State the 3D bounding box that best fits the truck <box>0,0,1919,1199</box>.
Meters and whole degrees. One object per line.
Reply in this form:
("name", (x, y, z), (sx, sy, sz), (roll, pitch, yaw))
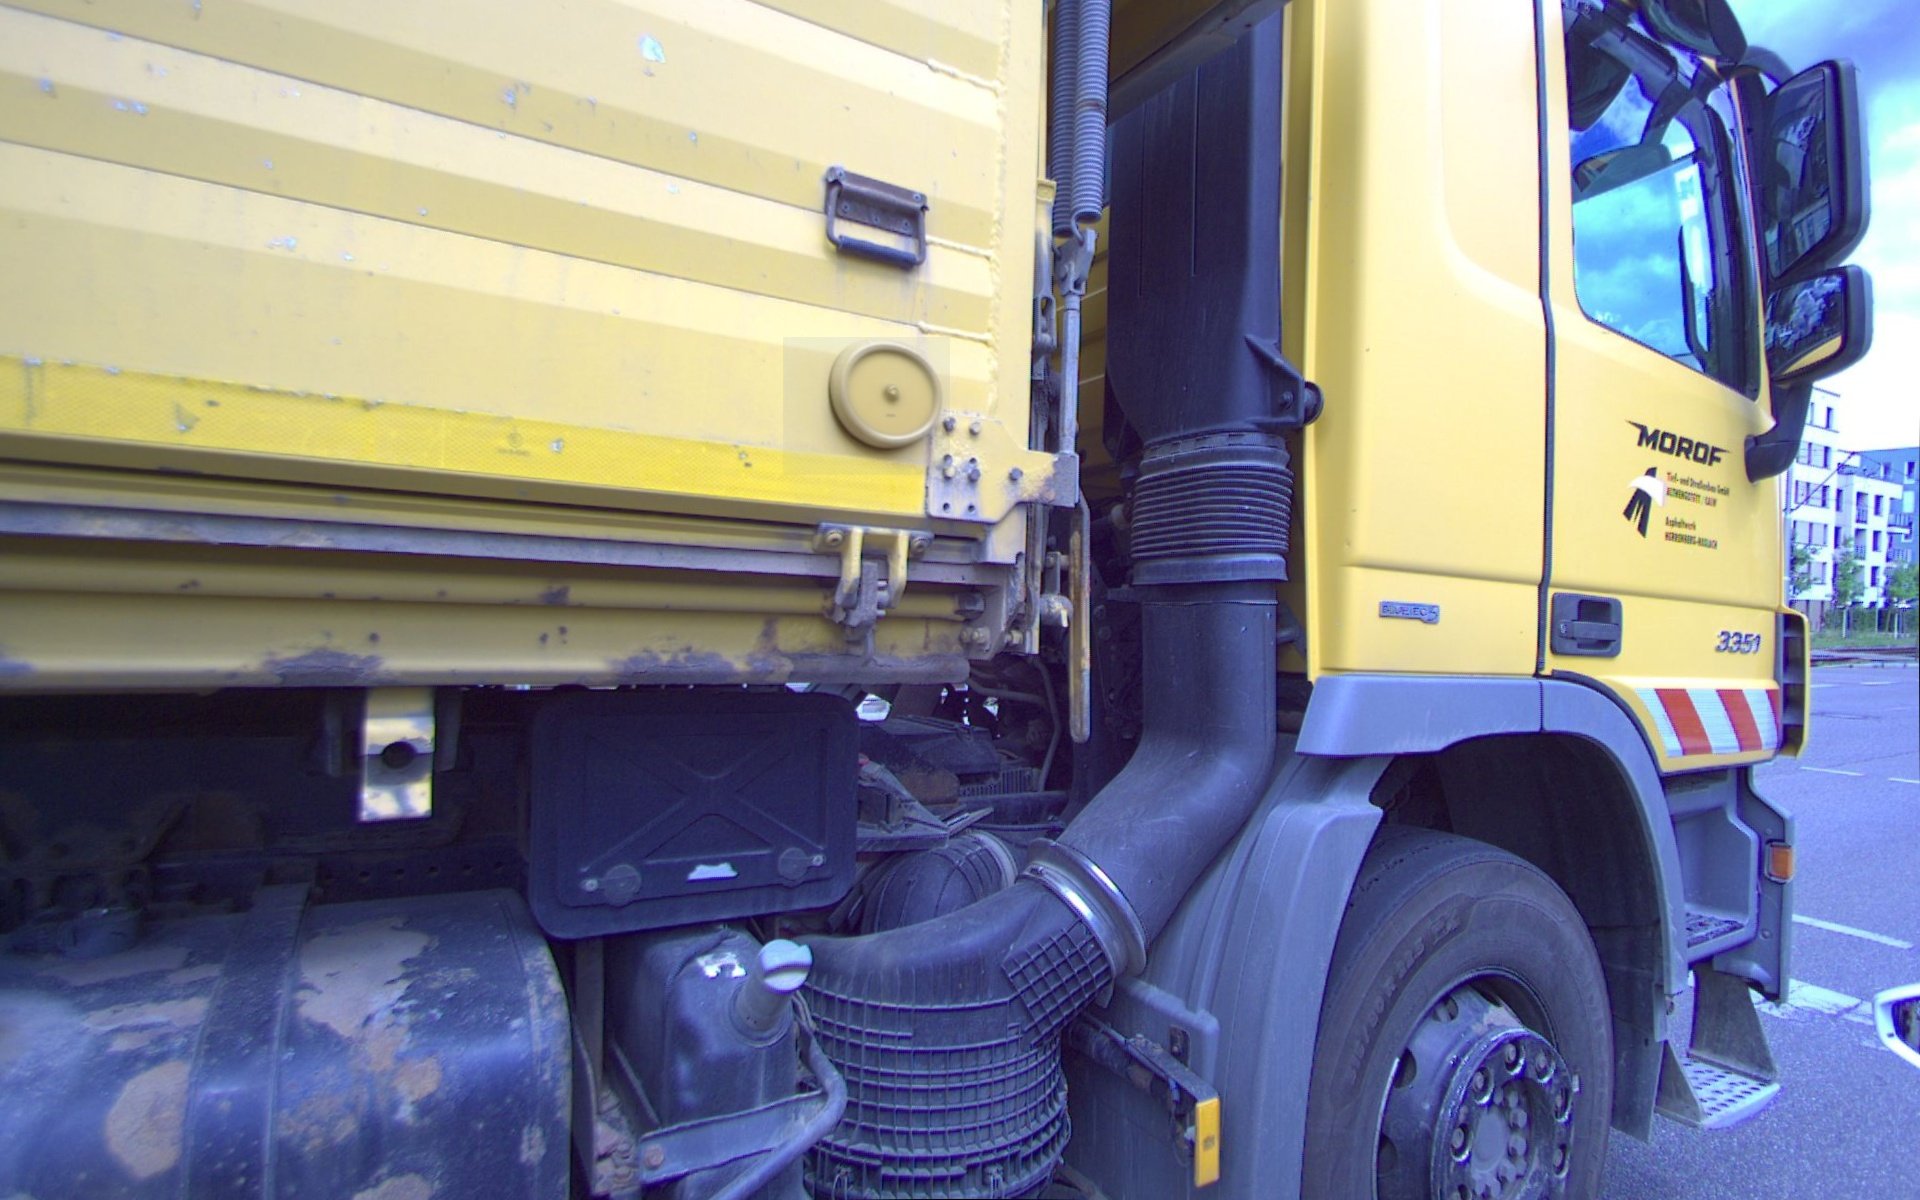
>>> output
("truck", (-1.547, -0.046, 1.584), (7.688, 3.043, 2.707), (2, 0, -30))
